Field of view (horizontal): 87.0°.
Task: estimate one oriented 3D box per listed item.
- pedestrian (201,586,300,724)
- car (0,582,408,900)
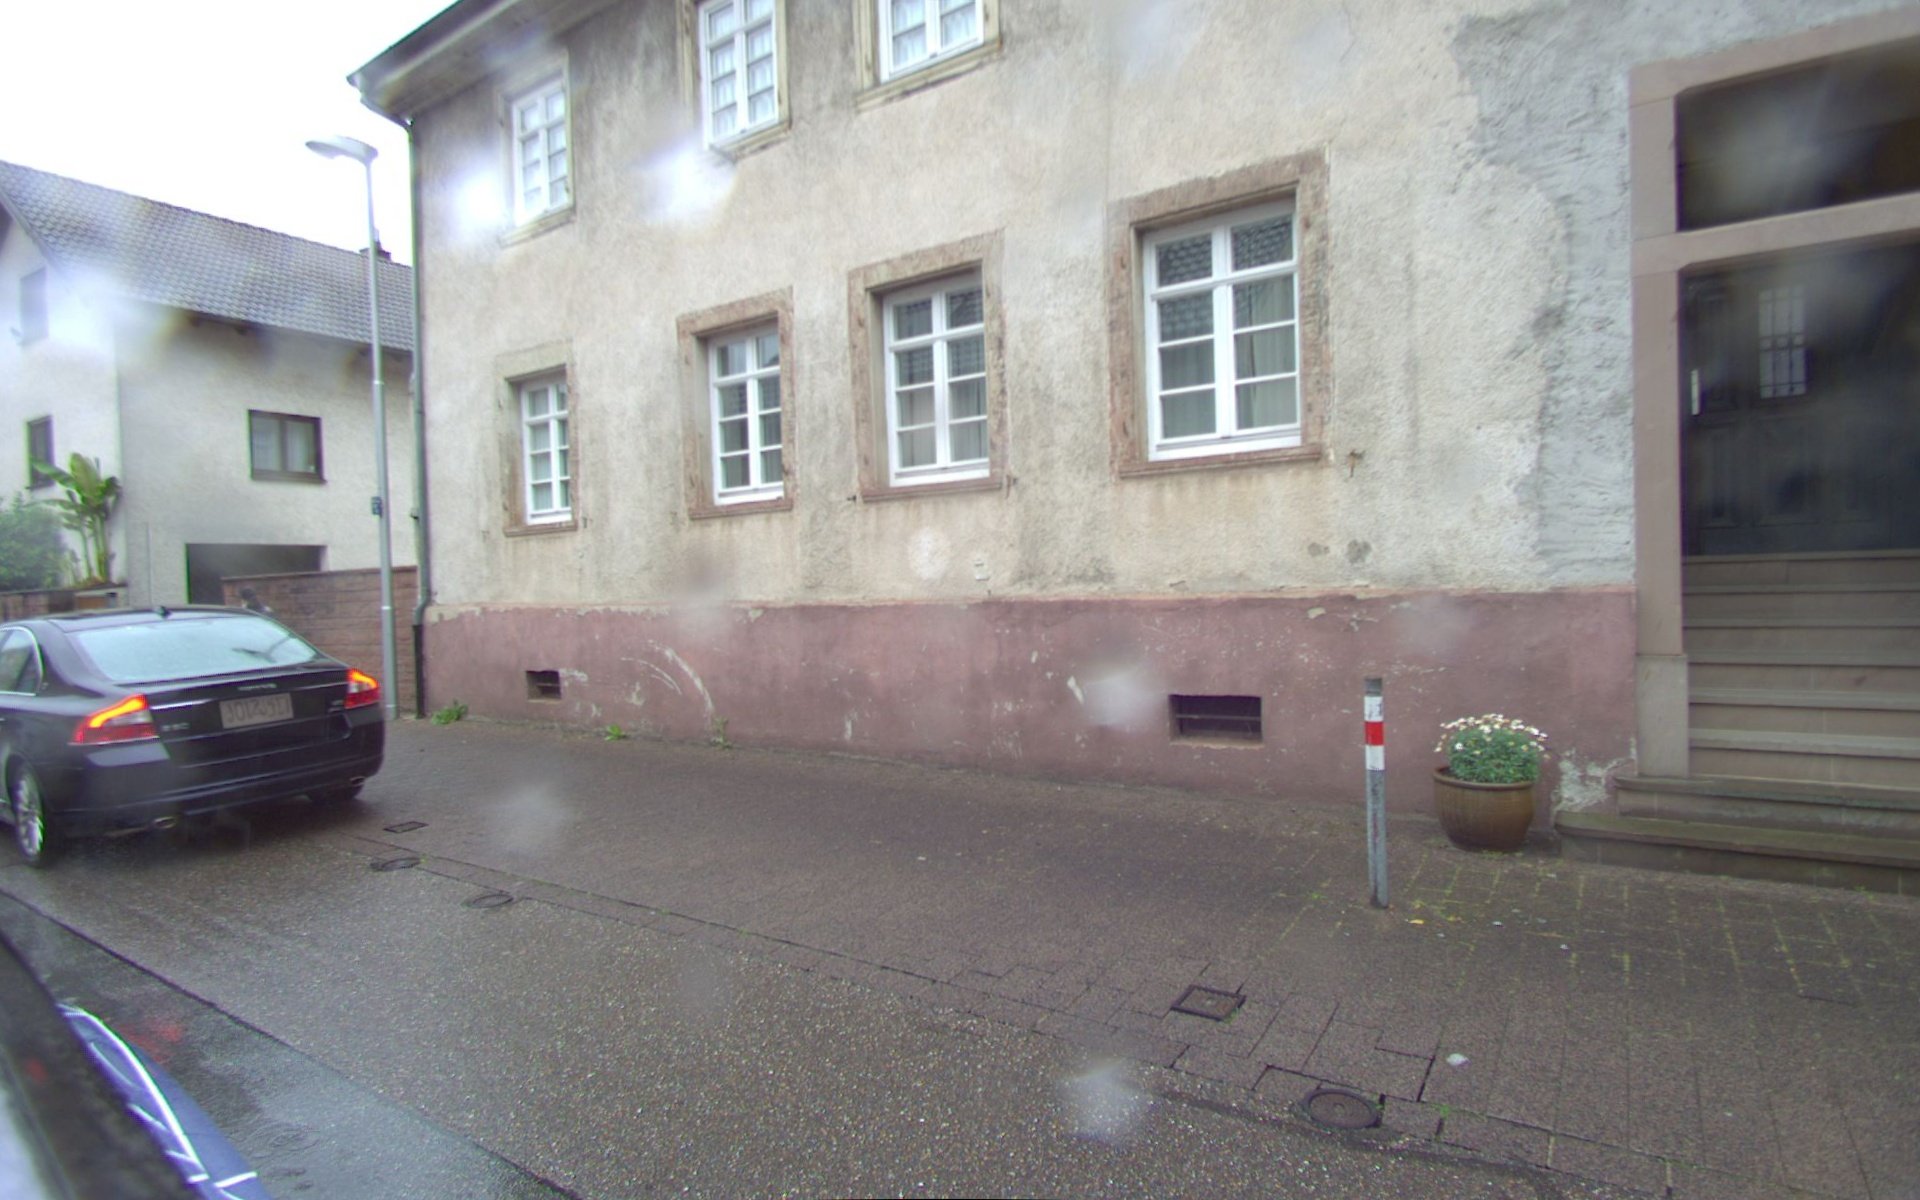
[{"bbox_3d":[-8.390,0.629,11.969,0.829,1.549,0.568,-1,2,29],"label":"pedestrian"},{"bbox_3d":[-5.799,0.735,6.899,4.329,1.520,1.683,-2,2,33],"label":"car"}]
